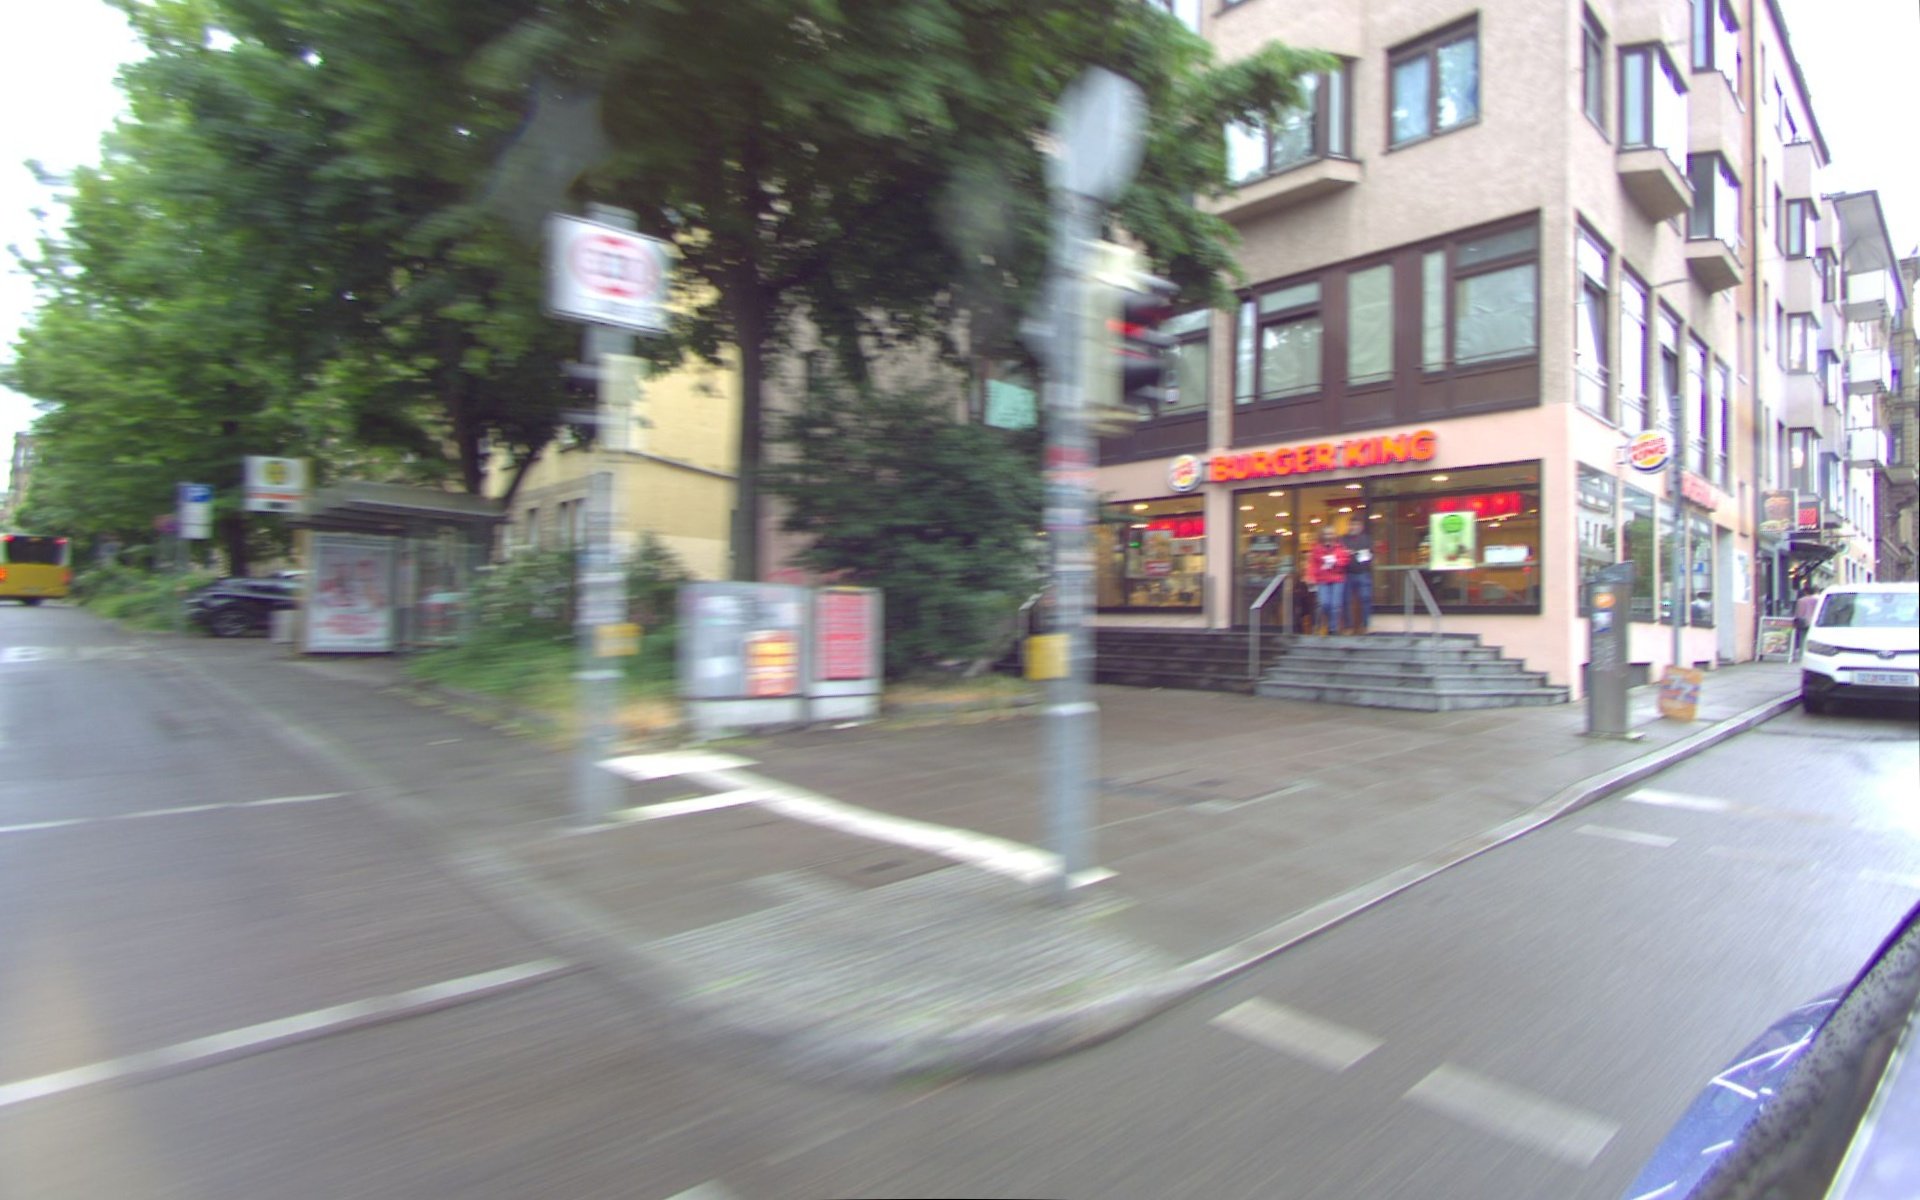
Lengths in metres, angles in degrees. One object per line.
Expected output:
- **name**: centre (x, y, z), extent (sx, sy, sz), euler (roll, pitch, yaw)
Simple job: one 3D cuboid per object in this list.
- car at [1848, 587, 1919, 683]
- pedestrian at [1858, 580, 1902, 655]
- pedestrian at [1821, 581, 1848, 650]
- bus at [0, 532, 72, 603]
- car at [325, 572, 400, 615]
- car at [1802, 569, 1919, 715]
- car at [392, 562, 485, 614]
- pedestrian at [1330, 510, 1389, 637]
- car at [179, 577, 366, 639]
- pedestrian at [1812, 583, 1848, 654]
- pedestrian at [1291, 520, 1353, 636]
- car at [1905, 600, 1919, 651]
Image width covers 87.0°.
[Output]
- **car**: centre (17.870, 0.591, 18.614), extent (4.339, 1.636, 1.908), euler (0, 0, -43)
- **pedestrian**: centre (23.132, 0.428, 25.436), extent (0.578, 1.842, 0.757), euler (0, 0, -42)
- **pedestrian**: centre (24.249, 0.421, 28.076), extent (0.528, 1.882, 0.549), euler (1, 0, 39)
- **bus**: centre (-45.099, -1.461, 47.161), extent (10.425, 3.056, 2.821), euler (1, 1, 33)
- **car**: centre (-21.579, -0.240, 36.499), extent (1.644, 1.474, 3.667), euler (0, 1, -42)
- **car**: centre (13.577, 0.520, 14.538), extent (1.907, 1.829, 4.700), euler (0, 0, 45)
- **car**: centre (-15.842, -0.384, 30.671), extent (1.644, 1.474, 3.667), euler (0, 1, -42)
- **pedestrian**: centre (5.951, -0.387, 15.093), extent (0.585, 1.843, 0.668), euler (0, 0, -3)
- **car**: centre (-17.851, 0.184, 26.386), extent (3.807, 1.479, 1.674), euler (0, 0, -45)
- **pedestrian**: centre (21.766, 0.444, 25.313), extent (0.571, 1.735, 0.611), euler (0, 0, -42)
- **pedestrian**: centre (5.340, -0.324, 14.959), extent (0.613, 1.670, 0.726), euler (0, 0, -3)
- **car**: centre (30.232, 0.751, 30.828), extent (4.175, 1.480, 1.908), euler (0, 0, -44)
